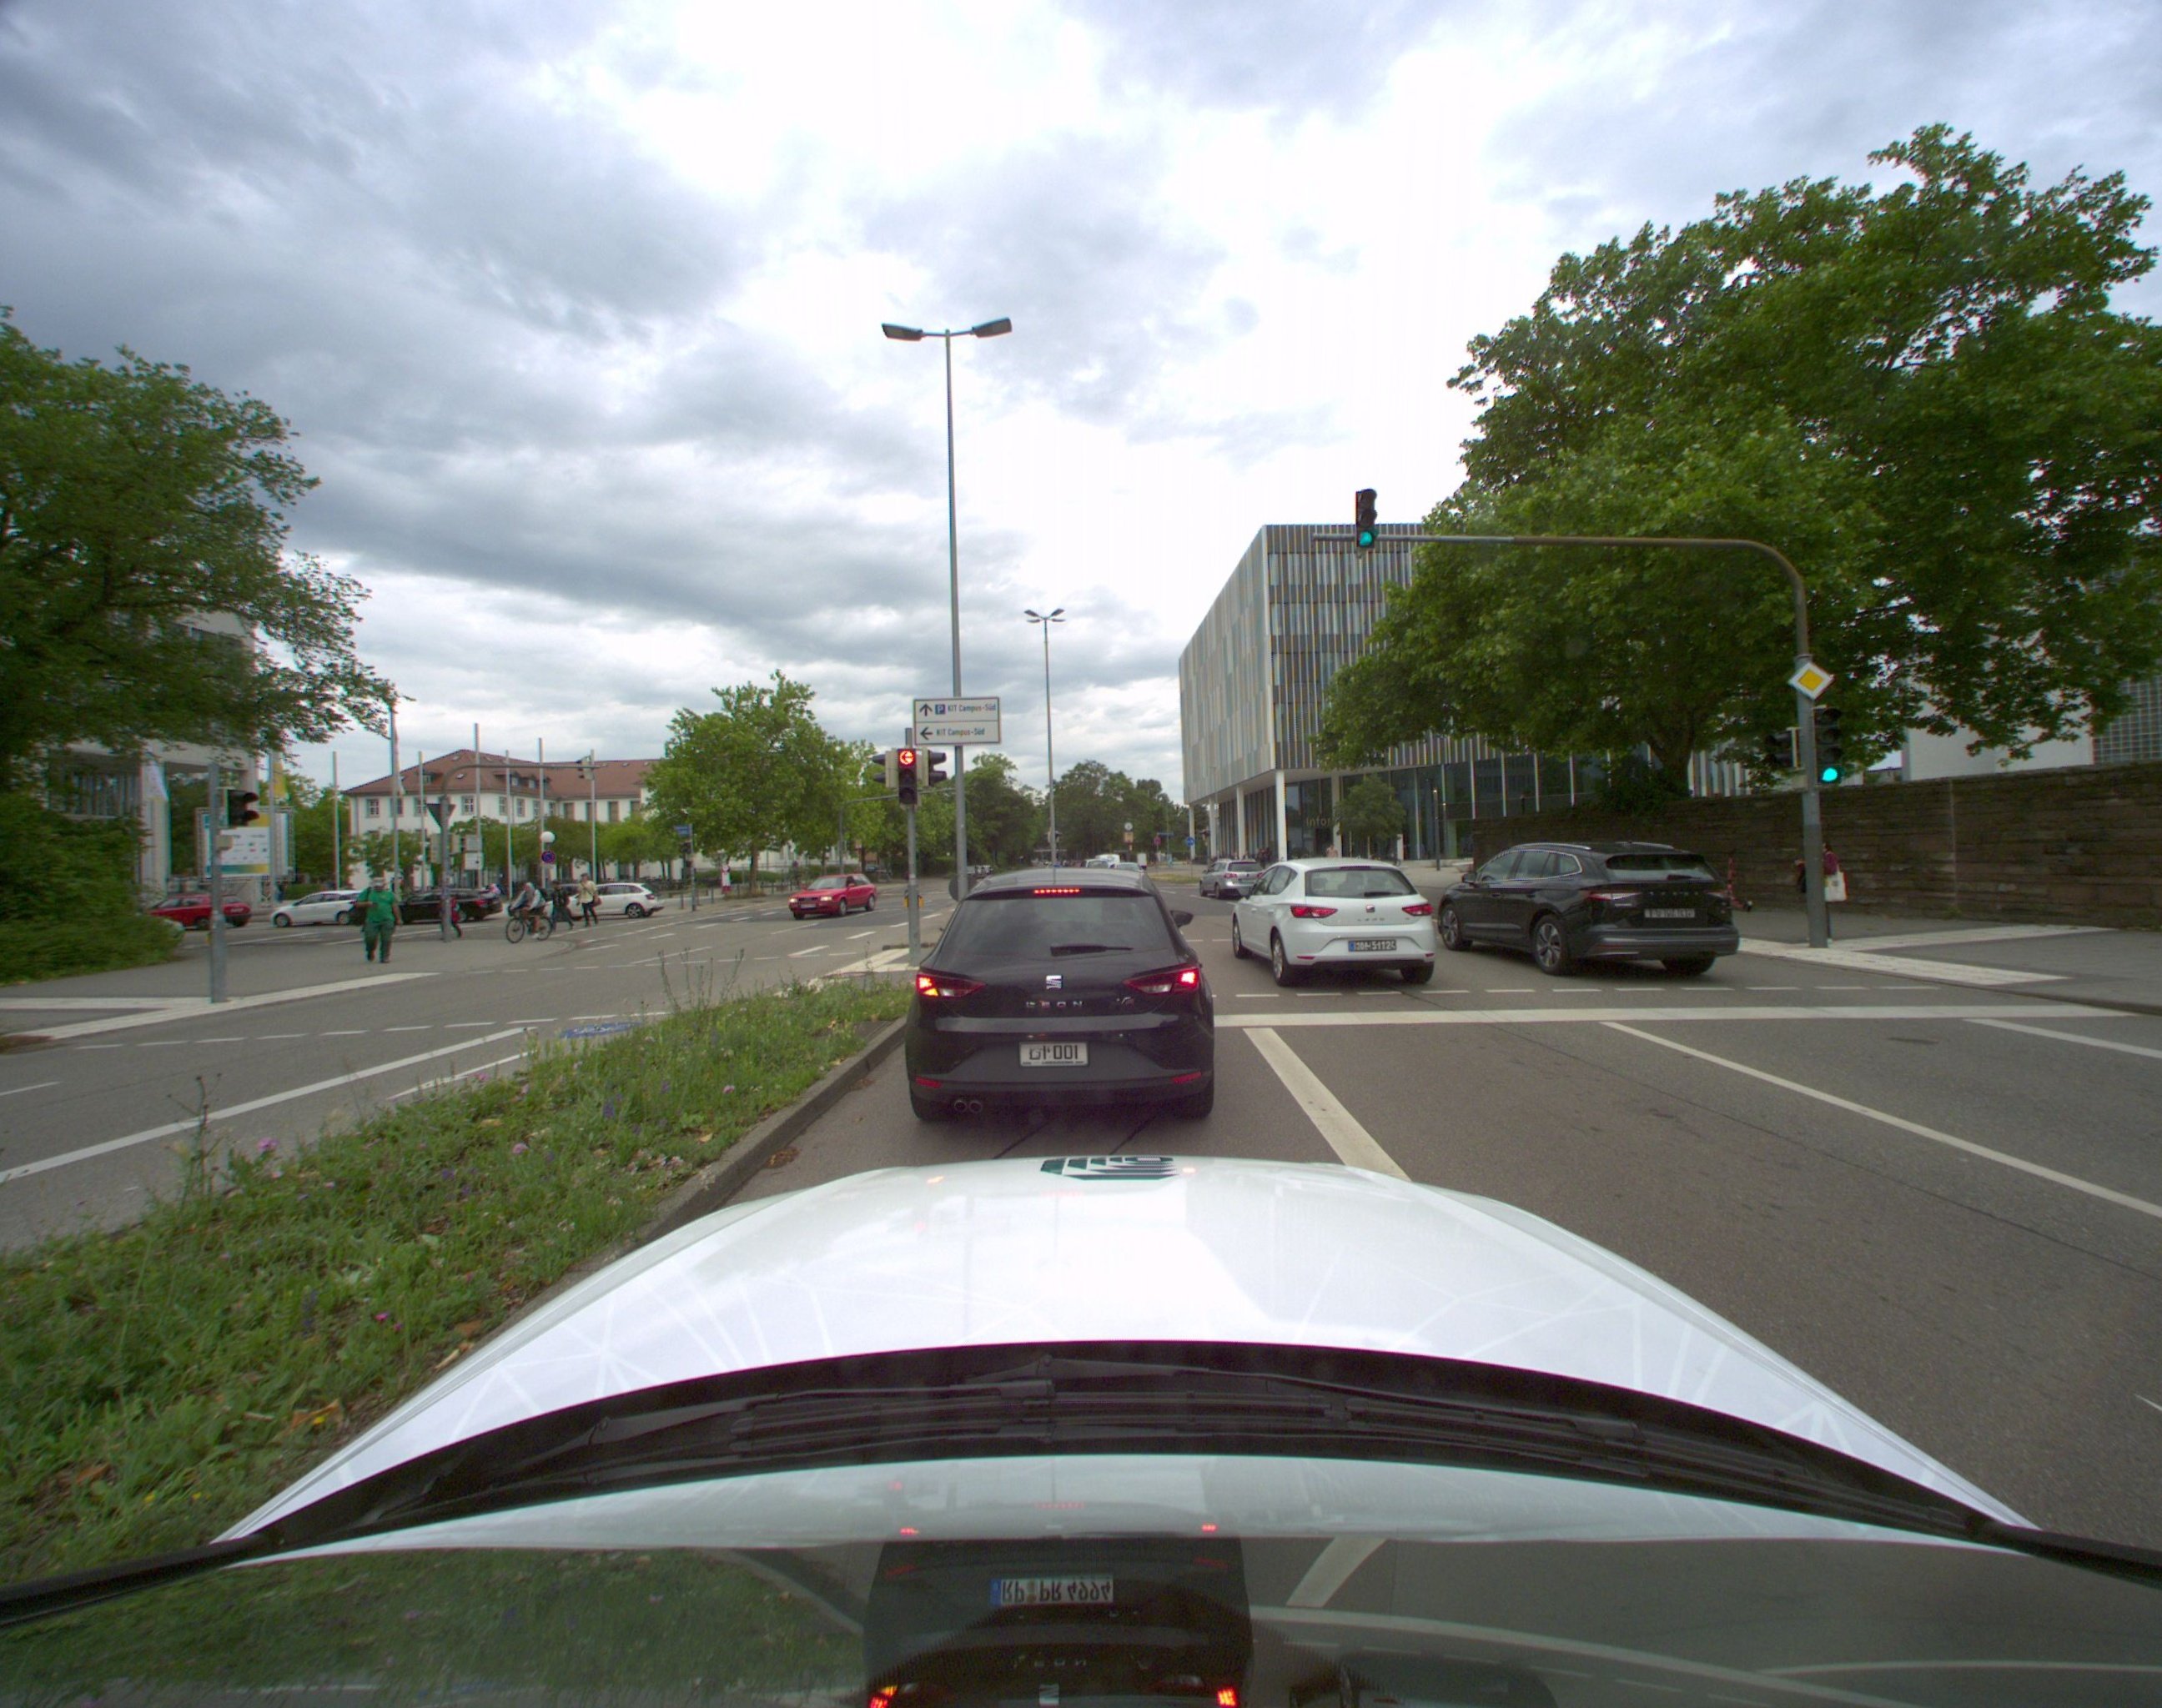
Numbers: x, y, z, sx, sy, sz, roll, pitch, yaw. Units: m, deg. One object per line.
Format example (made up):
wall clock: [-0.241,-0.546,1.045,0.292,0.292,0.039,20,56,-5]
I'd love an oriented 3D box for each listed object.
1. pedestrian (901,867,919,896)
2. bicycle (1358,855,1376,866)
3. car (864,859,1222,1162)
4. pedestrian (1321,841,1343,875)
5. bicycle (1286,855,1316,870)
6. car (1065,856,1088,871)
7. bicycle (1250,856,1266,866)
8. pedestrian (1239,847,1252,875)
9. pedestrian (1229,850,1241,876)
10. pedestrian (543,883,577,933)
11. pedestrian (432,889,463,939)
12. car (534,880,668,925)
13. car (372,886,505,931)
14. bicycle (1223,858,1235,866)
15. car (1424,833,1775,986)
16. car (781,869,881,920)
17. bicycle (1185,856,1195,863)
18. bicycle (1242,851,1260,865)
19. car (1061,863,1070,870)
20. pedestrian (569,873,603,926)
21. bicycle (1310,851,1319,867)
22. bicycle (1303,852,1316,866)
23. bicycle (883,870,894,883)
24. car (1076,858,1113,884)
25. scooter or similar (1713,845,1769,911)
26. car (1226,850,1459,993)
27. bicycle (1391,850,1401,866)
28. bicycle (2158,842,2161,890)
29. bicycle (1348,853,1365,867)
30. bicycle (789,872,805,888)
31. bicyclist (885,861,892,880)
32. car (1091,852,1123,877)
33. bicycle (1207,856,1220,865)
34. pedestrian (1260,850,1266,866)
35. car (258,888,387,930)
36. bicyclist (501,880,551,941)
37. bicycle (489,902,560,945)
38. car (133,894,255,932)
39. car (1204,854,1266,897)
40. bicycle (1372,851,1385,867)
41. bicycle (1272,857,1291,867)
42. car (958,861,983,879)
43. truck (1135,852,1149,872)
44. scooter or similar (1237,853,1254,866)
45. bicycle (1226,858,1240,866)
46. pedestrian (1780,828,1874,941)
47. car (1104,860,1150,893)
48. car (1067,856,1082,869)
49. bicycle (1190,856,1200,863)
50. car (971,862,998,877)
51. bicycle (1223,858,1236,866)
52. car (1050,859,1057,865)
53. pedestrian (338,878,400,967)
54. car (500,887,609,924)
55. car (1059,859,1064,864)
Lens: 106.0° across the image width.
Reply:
pedestrian: [-9.721,1.559,46.310,0.873,1.586,0.542,-3,0,-5]
bicycle: [21.188,0.510,60.299,1.535,0.716,0.513,-4,0,-42]
car: [-0.056,0.782,5.874,1.745,1.432,3.773,-1,0,4]
pedestrian: [13.541,0.219,43.971,0.844,1.765,0.768,-3,0,1]
bicycle: [15.105,0.577,55.992,1.892,0.898,0.693,-4,0,-20]
car: [-0.527,1.036,90.279,1.950,1.624,3.735,-1,0,-11]
bicycle: [16.468,0.624,75.804,1.445,0.857,0.362,-4,0,-25]
pedestrian: [10.828,0.450,53.589,0.684,1.781,0.677,-2,0,1]
pedestrian: [10.141,0.591,53.543,0.684,1.640,0.633,-1,0,1]
pedestrian: [-16.708,1.726,26.126,0.796,1.558,0.691,0,-5,-42]
pedestrian: [-20.000,1.894,25.716,0.572,1.527,0.842,-2,-5,-22]
car: [-19.078,1.899,32.580,4.220,1.431,1.702,-4,0,-15]
car: [-27.578,2.317,35.093,4.059,1.452,1.615,-3,5,-16]
bicycle: [15.711,0.830,86.685,1.232,0.705,0.490,-4,0,10]
car: [6.503,0.600,10.976,1.900,1.624,4.491,-1,0,1]
car: [-8.524,1.334,28.176,1.705,1.418,4.301,-3,0,6]
bicycle: [14.553,0.767,108.815,1.262,0.848,0.479,1,-2,-21]
bicycle: [16.179,0.389,77.521,1.785,1.211,0.564,-4,0,-32]
car: [-3.154,2.497,166.116,1.894,1.354,3.880,-4,0,-2]
pedestrian: [-16.993,1.561,27.973,0.843,1.740,0.824,-2,-5,-22]
bicycle: [18.405,0.385,64.117,0.522,1.253,1.674,-3,0,20]
bicycle: [18.794,0.418,66.903,0.614,1.045,1.716,-3,0,28]
bicycle: [-16.522,1.919,69.952,0.486,1.005,1.590,-1,1,2]
car: [0.818,1.066,52.807,1.728,1.603,4.093,-1,0,-8]
scooter or similar: [13.081,0.452,16.179,0.428,1.179,1.714,-4,0,26]
car: [3.078,0.714,10.451,1.775,1.463,3.871,-1,0,1]
bicycle: [22.536,0.303,58.299,0.616,1.056,1.959,-3,0,21]
bicycle: [13.546,0.404,8.921,0.801,1.174,1.952,-5,0,-3]
bicycle: [20.605,0.448,60.972,0.688,0.946,1.997,-3,0,32]
bicycle: [-20.990,1.932,60.213,0.606,1.060,2.041,-3,0,-4]
bicyclist: [-16.524,1.419,69.935,0.489,1.624,0.588,0,1,1]
car: [2.091,0.863,67.467,1.965,1.972,4.332,0,0,-7]
bicycle: [14.927,0.729,91.685,1.379,0.942,0.489,-3,0,8]
pedestrian: [15.304,0.345,68.459,0.469,1.361,0.447,-3,0,12]
car: [-33.054,2.380,35.577,3.868,1.539,1.684,-2,2,-2]
bicyclist: [-15.436,1.547,22.679,0.662,1.635,0.964,-1,-1,10]
bicycle: [-15.443,1.916,22.652,0.662,1.062,1.624,-1,-1,10]
car: [-38.096,2.508,35.036,3.341,1.479,1.559,-1,0,-5]
car: [5.849,0.821,31.429,1.817,1.551,4.531,0,-1,4]
bicycle: [21.659,0.363,59.245,0.802,1.056,1.959,-3,0,21]
bicycle: [17.070,0.705,69.362,1.475,0.748,0.566,-4,0,-2]
car: [-11.687,1.721,86.732,1.899,1.717,4.002,-4,0,2]
truck: [7.059,0.914,94.843,1.313,2.243,3.403,-3,0,2]
scooter or similar: [15.794,0.527,78.107,1.682,1.106,0.494,-4,0,-30]
bicycle: [15.775,0.806,84.321,1.368,0.705,0.416,-4,0,4]
pedestrian: [11.043,0.441,12.070,0.657,1.561,0.636,-6,0,1]
car: [2.176,1.046,39.599,1.719,1.414,4.239,-1,0,-4]
car: [-0.963,1.212,115.459,1.907,1.664,4.116,-4,0,1]
bicycle: [14.959,0.735,106.698,1.239,0.823,0.479,0,-1,-21]
car: [-11.425,1.835,96.372,1.746,1.587,4.016,-3,0,15]
bicycle: [15.634,0.845,85.794,1.366,0.705,0.490,-4,0,10]
car: [-7.976,2.420,238.680,1.692,1.503,4.003,-4,0,-5]
pedestrian: [-14.678,1.379,16.793,0.948,1.759,0.865,0,-2,-42]
car: [-23.187,2.251,35.971,3.649,1.223,1.562,-2,7,-5]
car: [-5.713,2.294,242.685,1.501,1.193,3.161,-4,0,-2]
